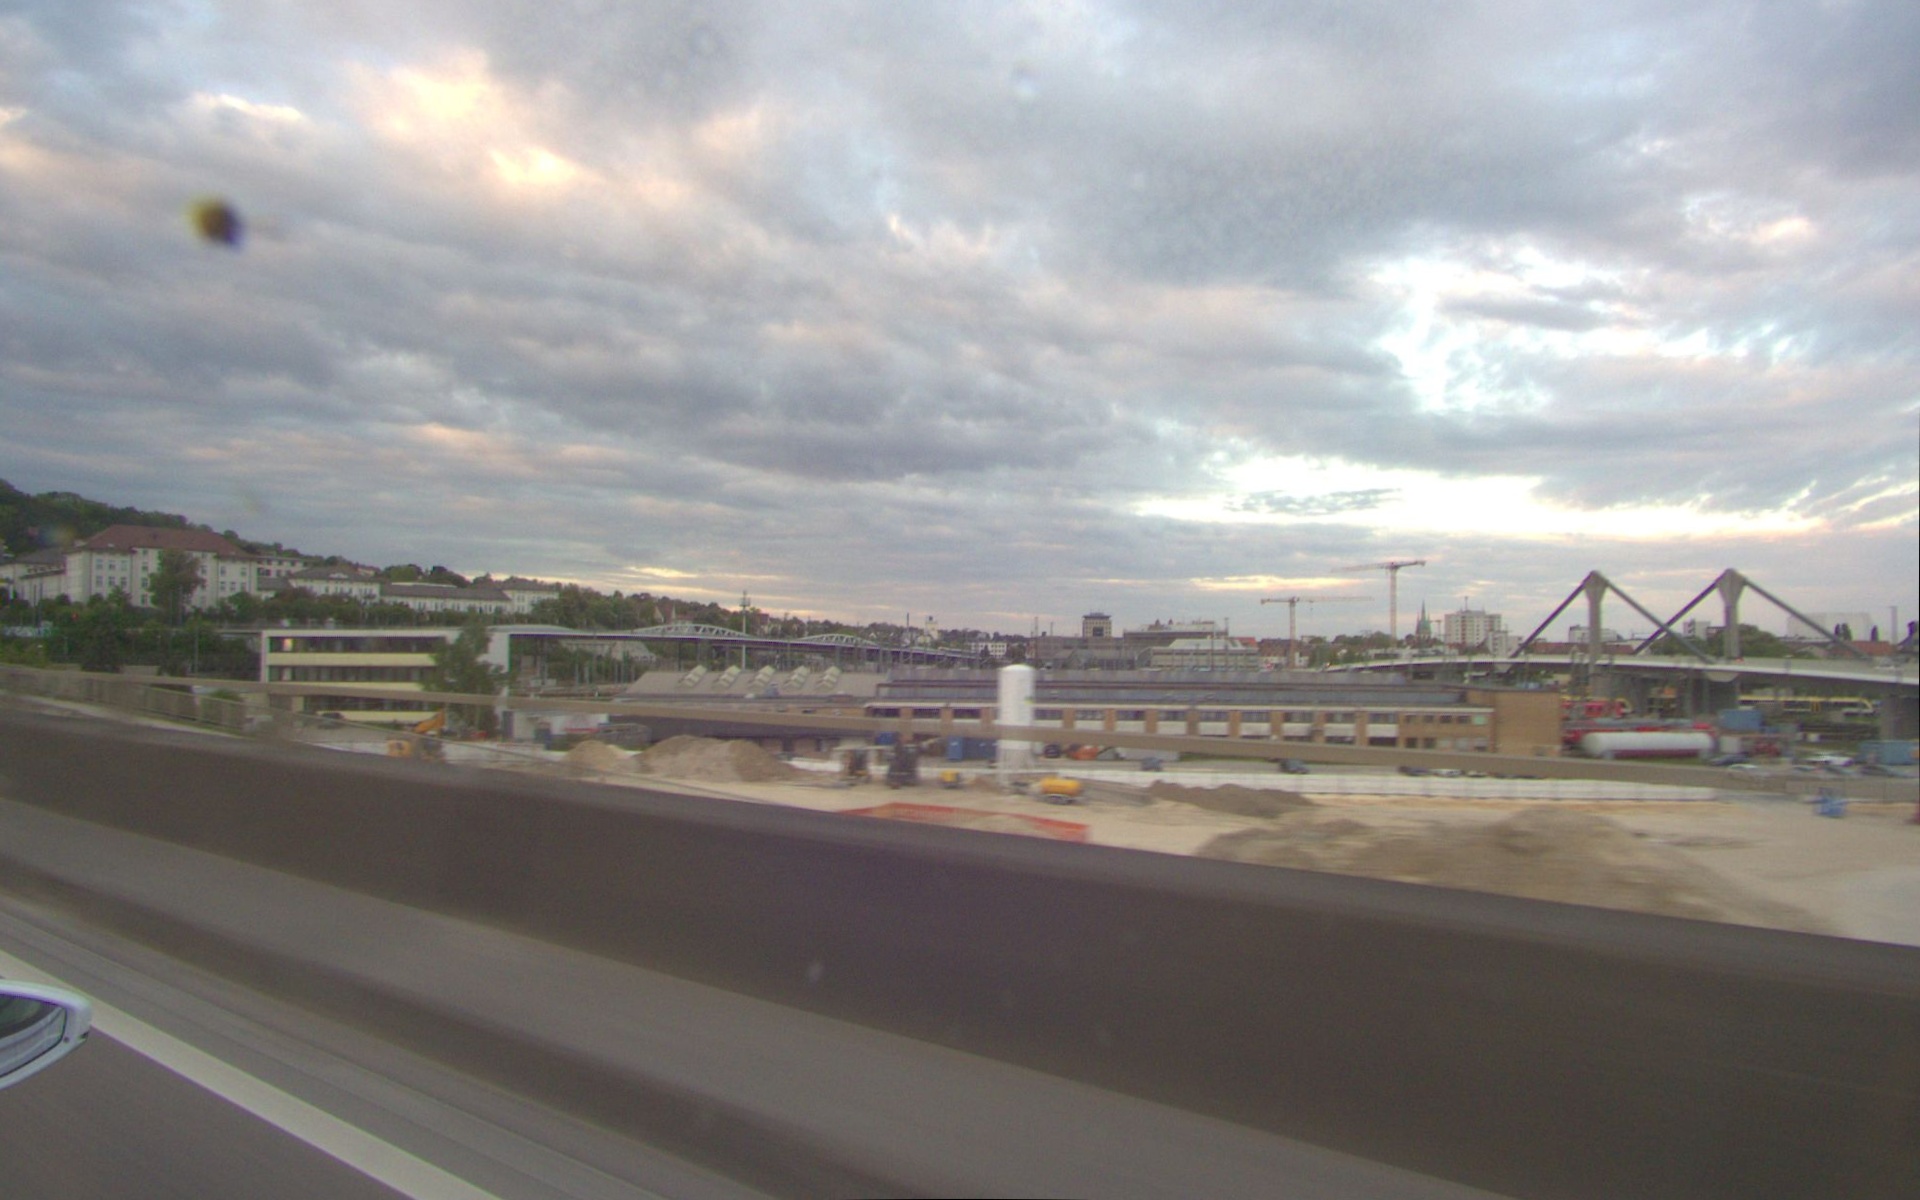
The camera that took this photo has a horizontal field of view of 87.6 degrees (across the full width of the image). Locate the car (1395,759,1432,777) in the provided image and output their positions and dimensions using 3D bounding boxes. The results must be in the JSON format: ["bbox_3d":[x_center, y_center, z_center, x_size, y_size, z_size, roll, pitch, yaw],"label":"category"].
[{"bbox_3d":[45.190,16.725,99.886,1.835,1.435,4.010,4,-7,1],"label":"car"}]

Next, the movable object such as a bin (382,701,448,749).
[{"bbox_3d":[-53.648,12.342,98.590,4.869,4.356,2.786,1,-7,20],"label":"movable object such as a bin"}]

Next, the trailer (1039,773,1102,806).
[{"bbox_3d":[7.494,12.833,67.903,3.781,1.823,1.999,1,-7,25],"label":"trailer"}]

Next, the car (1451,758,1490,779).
[{"bbox_3d":[50.772,16.783,99.743,1.835,1.733,4.010,4,-7,1],"label":"car"}]

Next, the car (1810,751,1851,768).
[{"bbox_3d":[97.218,17.852,111.867,3.617,1.593,1.441,6,-7,-9],"label":"car"}]

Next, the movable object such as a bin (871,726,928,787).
[{"bbox_3d":[-4.502,11.808,75.692,2.734,4.355,4.963,-1,-8,17],"label":"movable object such as a bin"}]

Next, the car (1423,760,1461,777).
[{"bbox_3d":[47.983,16.728,99.671,1.835,1.435,4.010,4,-7,1],"label":"car"}]

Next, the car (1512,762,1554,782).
[{"bbox_3d":[56.373,16.909,98.519,1.835,1.669,4.010,4,-7,1],"label":"car"}]

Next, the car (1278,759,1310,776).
[{"bbox_3d":[33.496,16.833,100.510,1.835,1.435,4.010,4,-7,1],"label":"car"}]

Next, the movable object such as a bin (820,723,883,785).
[{"bbox_3d":[-8.232,11.804,76.704,2.734,4.356,4.963,2,-7,17],"label":"movable object such as a bin"}]

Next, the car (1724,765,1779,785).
[{"bbox_3d":[78.031,17.256,98.806,1.835,1.539,4.349,1,-4,-4],"label":"car"}]

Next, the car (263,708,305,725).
[{"bbox_3d":[-72.720,12.529,107.783,1.796,1.583,4.006,5,-6,-2],"label":"car"}]

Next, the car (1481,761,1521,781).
[{"bbox_3d":[53.458,16.854,99.056,1.835,1.669,4.010,4,-7,1],"label":"car"}]

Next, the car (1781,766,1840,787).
[{"bbox_3d":[83.105,17.247,97.892,1.835,1.539,4.349,1,-4,-4],"label":"car"}]

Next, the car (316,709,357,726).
[{"bbox_3d":[-66.243,12.503,106.435,1.796,1.583,4.006,5,-6,-2],"label":"car"}]

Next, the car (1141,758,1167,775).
[{"bbox_3d":[19.598,16.818,101.419,1.835,1.435,4.010,4,-7,1],"label":"car"}]
